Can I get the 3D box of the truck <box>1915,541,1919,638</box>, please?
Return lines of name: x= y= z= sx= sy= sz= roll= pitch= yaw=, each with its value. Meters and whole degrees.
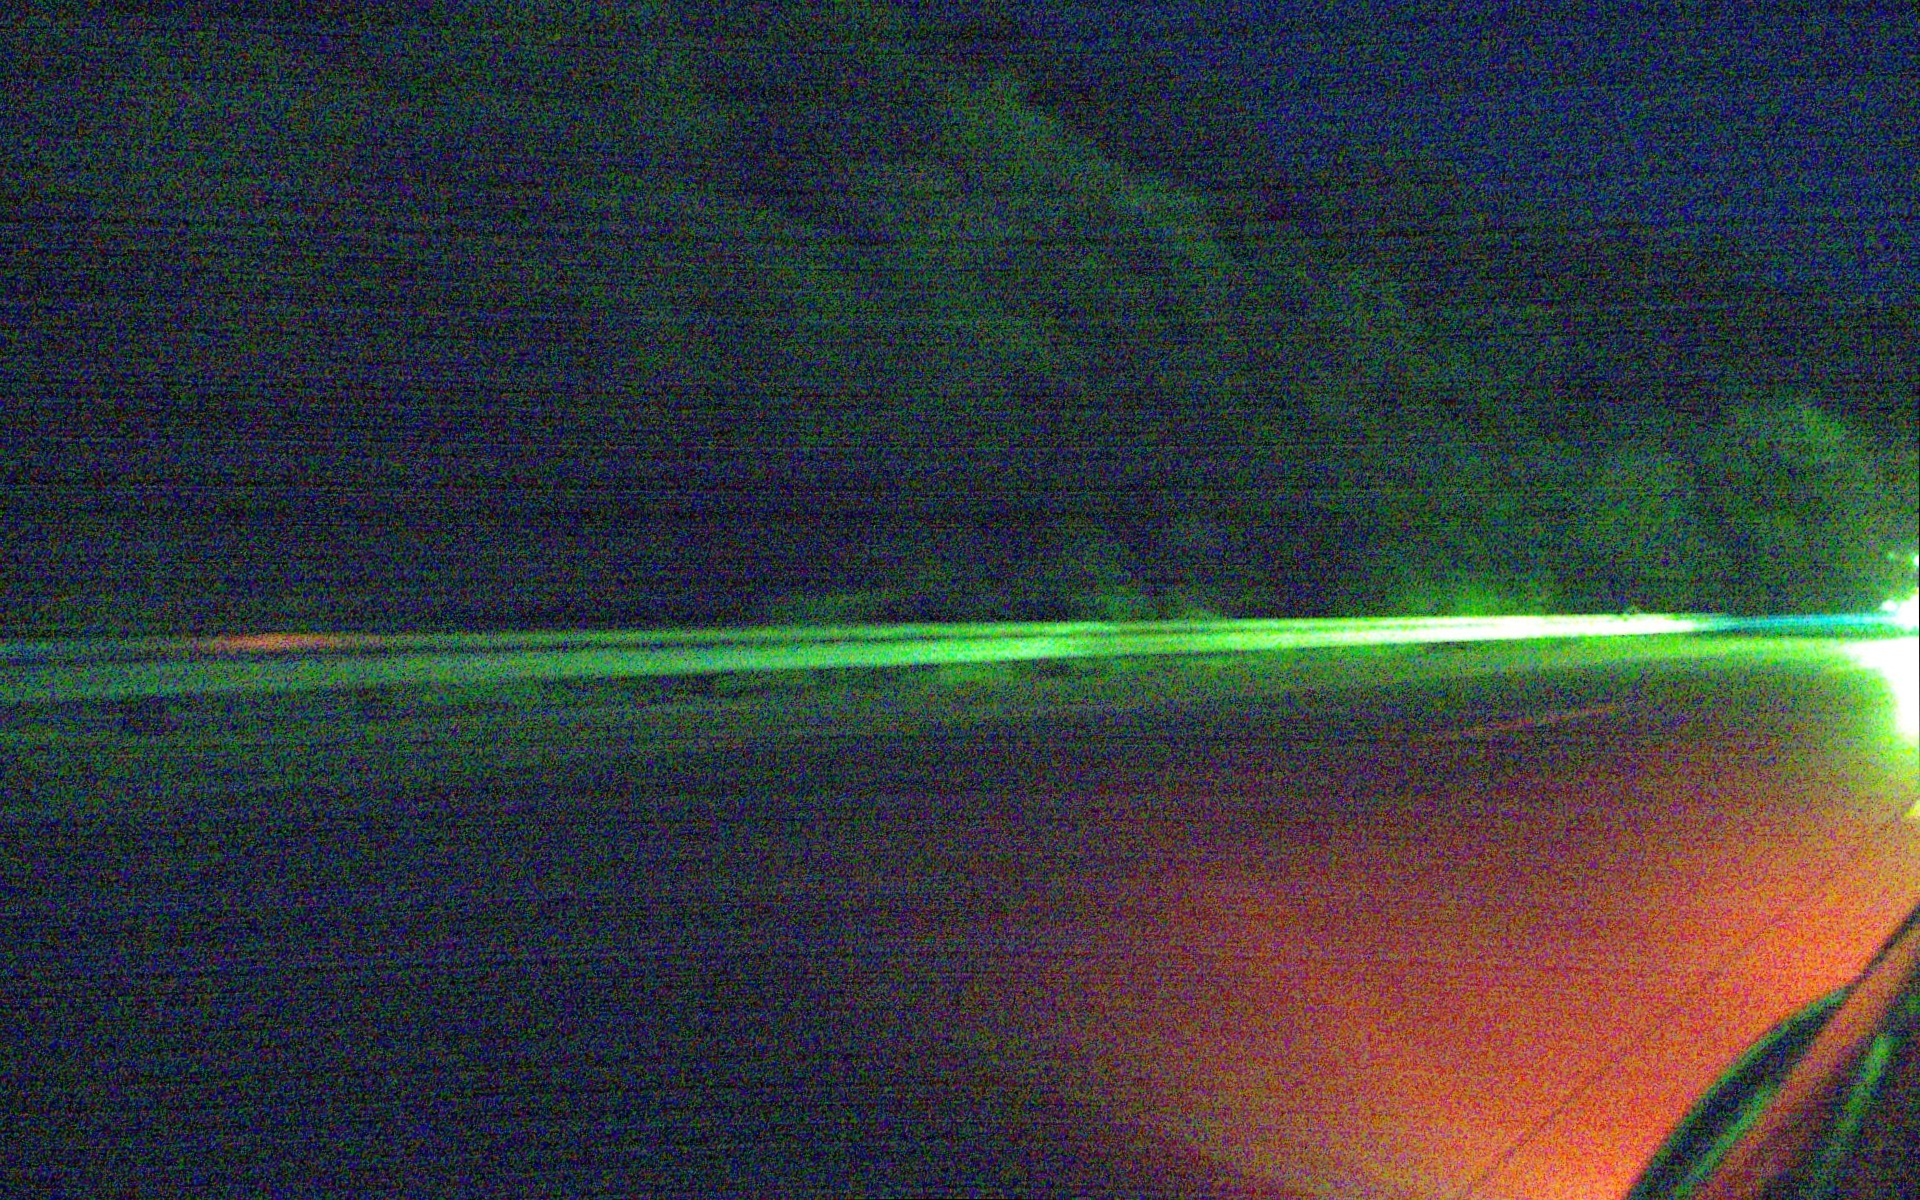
truck: x=42.407 y=-0.469 z=41.669 sx=7.901 sy=3.888 sz=2.876 roll=-1 pitch=0 yaw=-35
